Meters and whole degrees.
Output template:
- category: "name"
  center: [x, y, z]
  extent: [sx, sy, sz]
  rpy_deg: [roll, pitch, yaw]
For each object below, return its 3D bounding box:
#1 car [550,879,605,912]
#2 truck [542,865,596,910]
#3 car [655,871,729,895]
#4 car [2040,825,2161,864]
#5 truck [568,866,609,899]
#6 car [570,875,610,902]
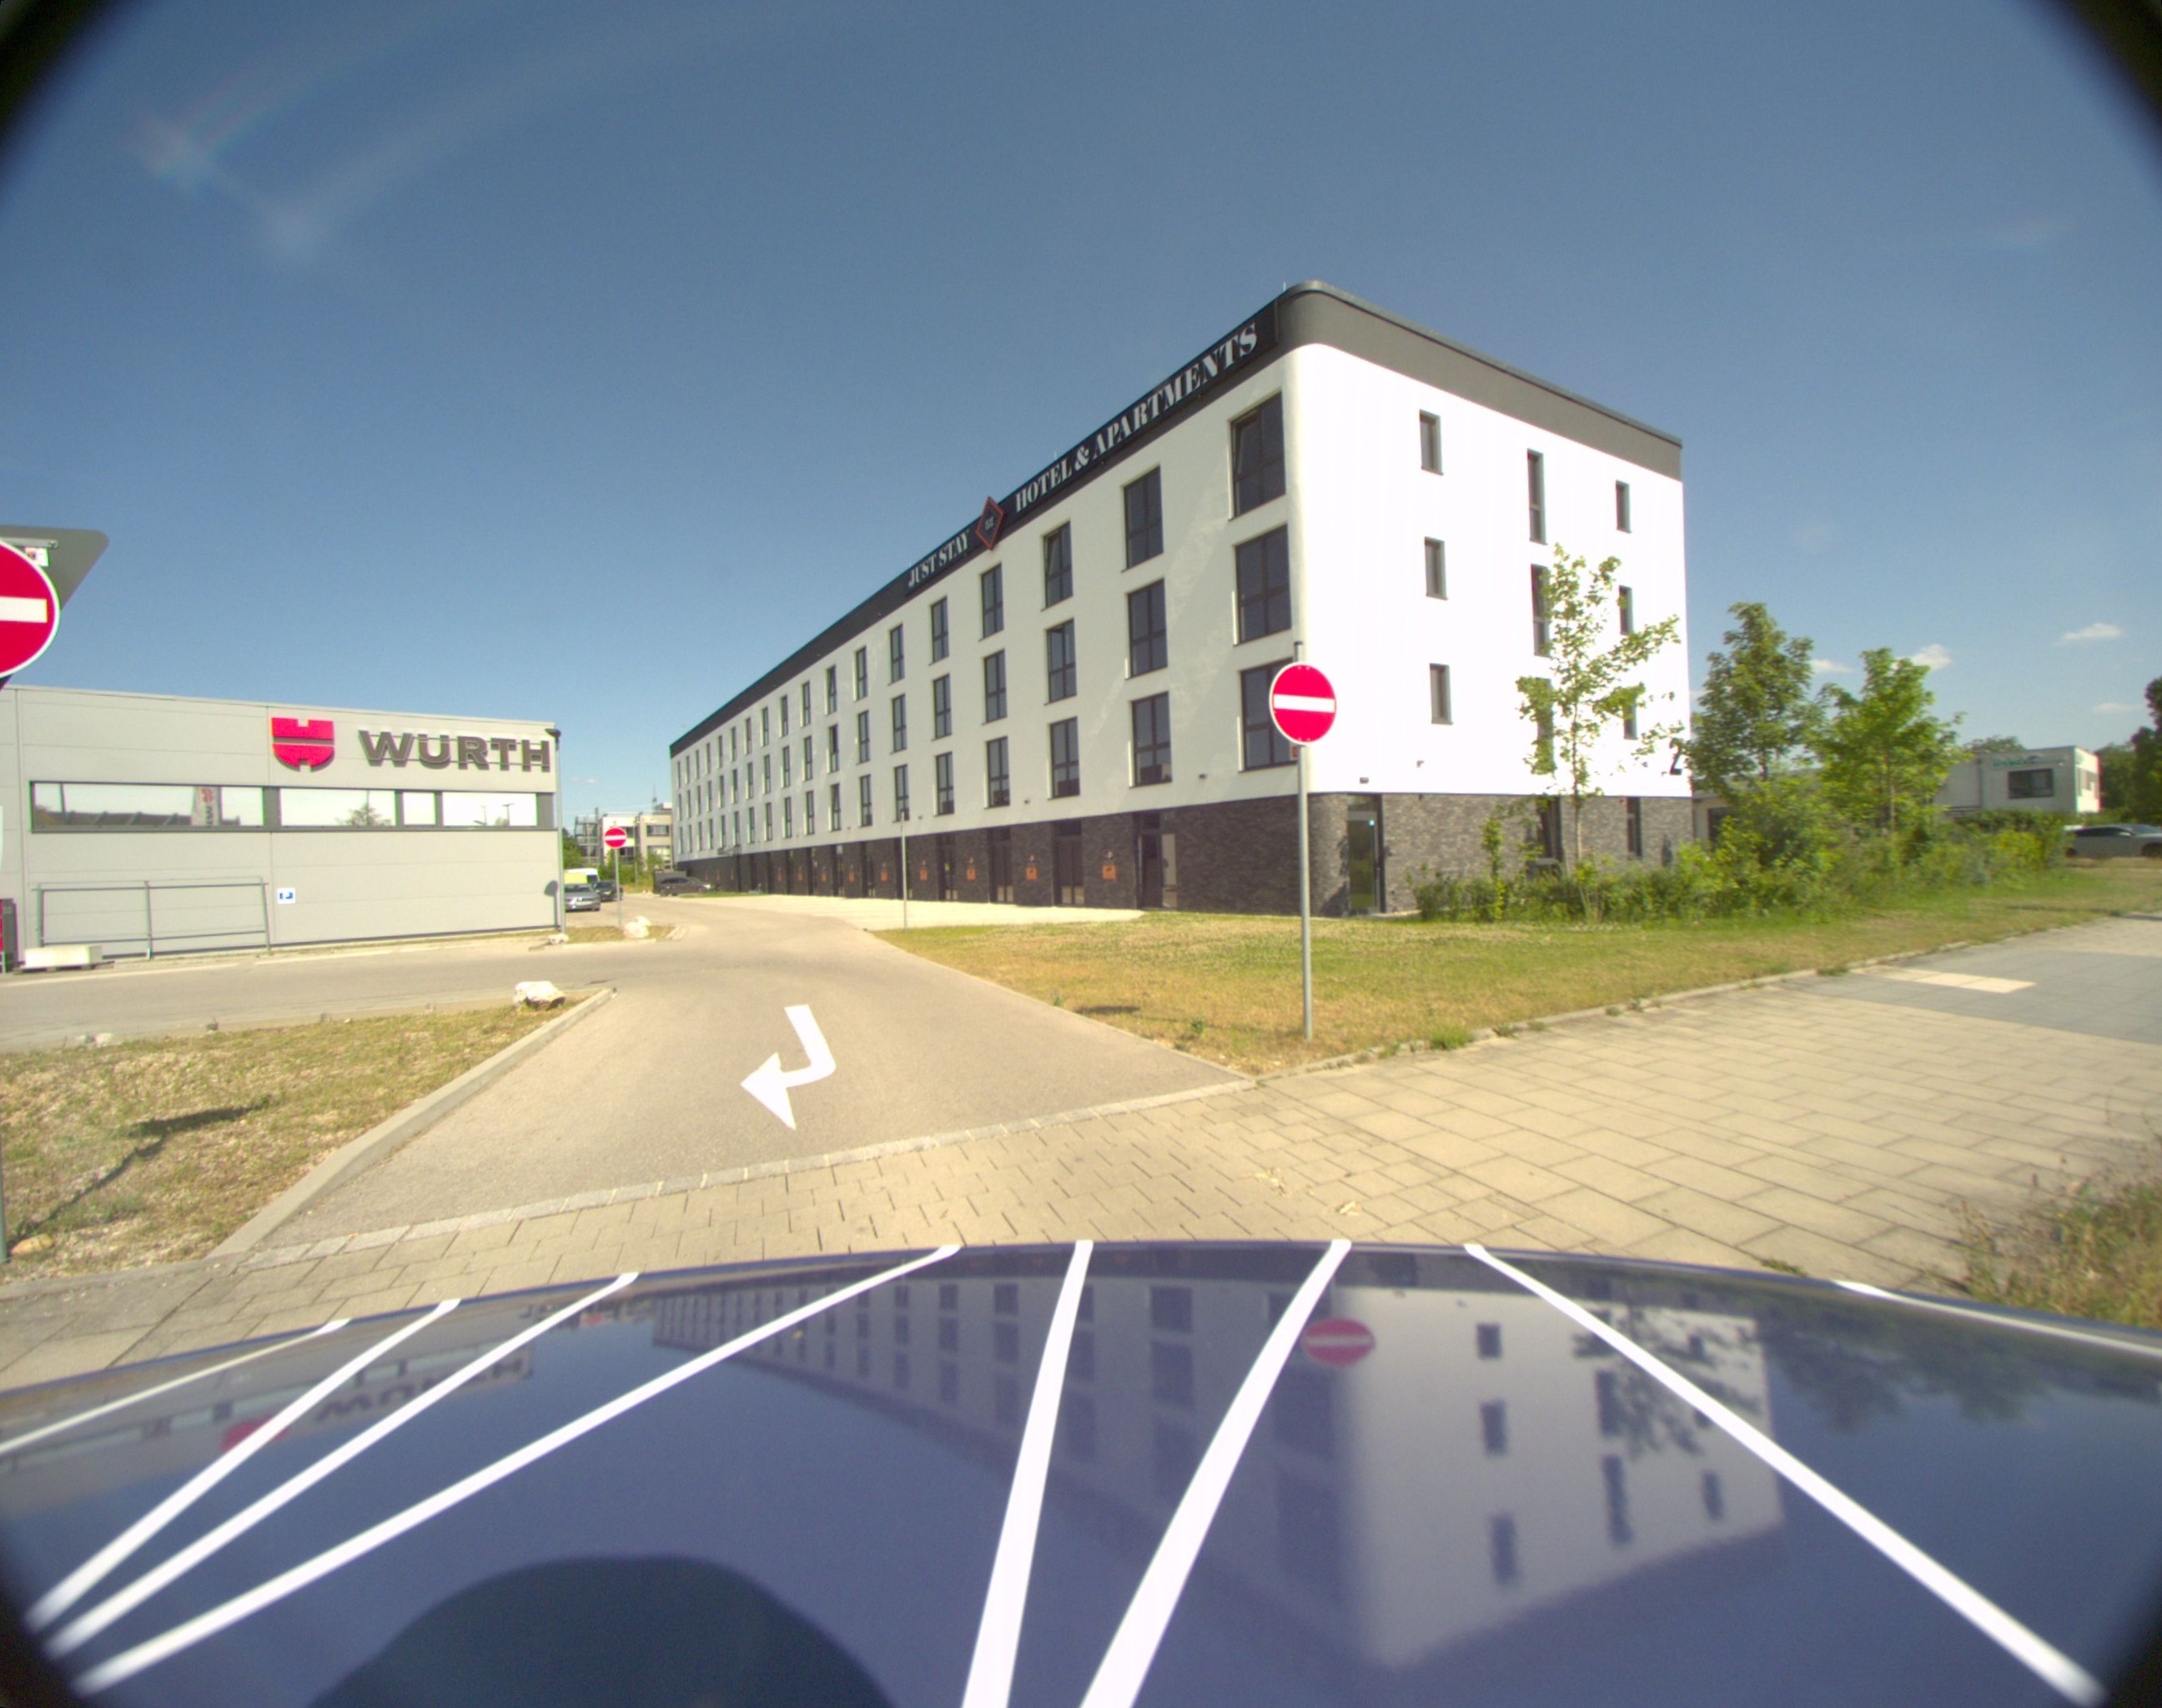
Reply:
- category: "car"
  center: [-26.036, 2.122, 39.248]
  extent: [1.883, 1.499, 3.990]
  rpy_deg: [-3, 0, -40]
- category: "truck"
  center: [-30.072, 1.919, 44.549]
  extent: [2.127, 2.362, 5.875]
  rpy_deg: [-3, 0, -38]
- category: "car"
  center: [-29.297, 2.194, 57.321]
  extent: [4.522, 1.499, 1.879]
  rpy_deg: [-3, 0, -2]
- category: "car"
  center: [46.081, -0.404, 33.469]
  extent: [1.842, 1.565, 4.395]
  rpy_deg: [-4, 0, -7]
- category: "truck"
  center: [-38.225, 2.206, 58.901]
  extent: [2.003, 2.362, 5.875]
  rpy_deg: [-3, 0, -38]
- category: "car"
  center: [-33.002, 2.288, 51.015]
  extent: [1.722, 1.608, 3.989]
  rpy_deg: [-3, 1, -40]
